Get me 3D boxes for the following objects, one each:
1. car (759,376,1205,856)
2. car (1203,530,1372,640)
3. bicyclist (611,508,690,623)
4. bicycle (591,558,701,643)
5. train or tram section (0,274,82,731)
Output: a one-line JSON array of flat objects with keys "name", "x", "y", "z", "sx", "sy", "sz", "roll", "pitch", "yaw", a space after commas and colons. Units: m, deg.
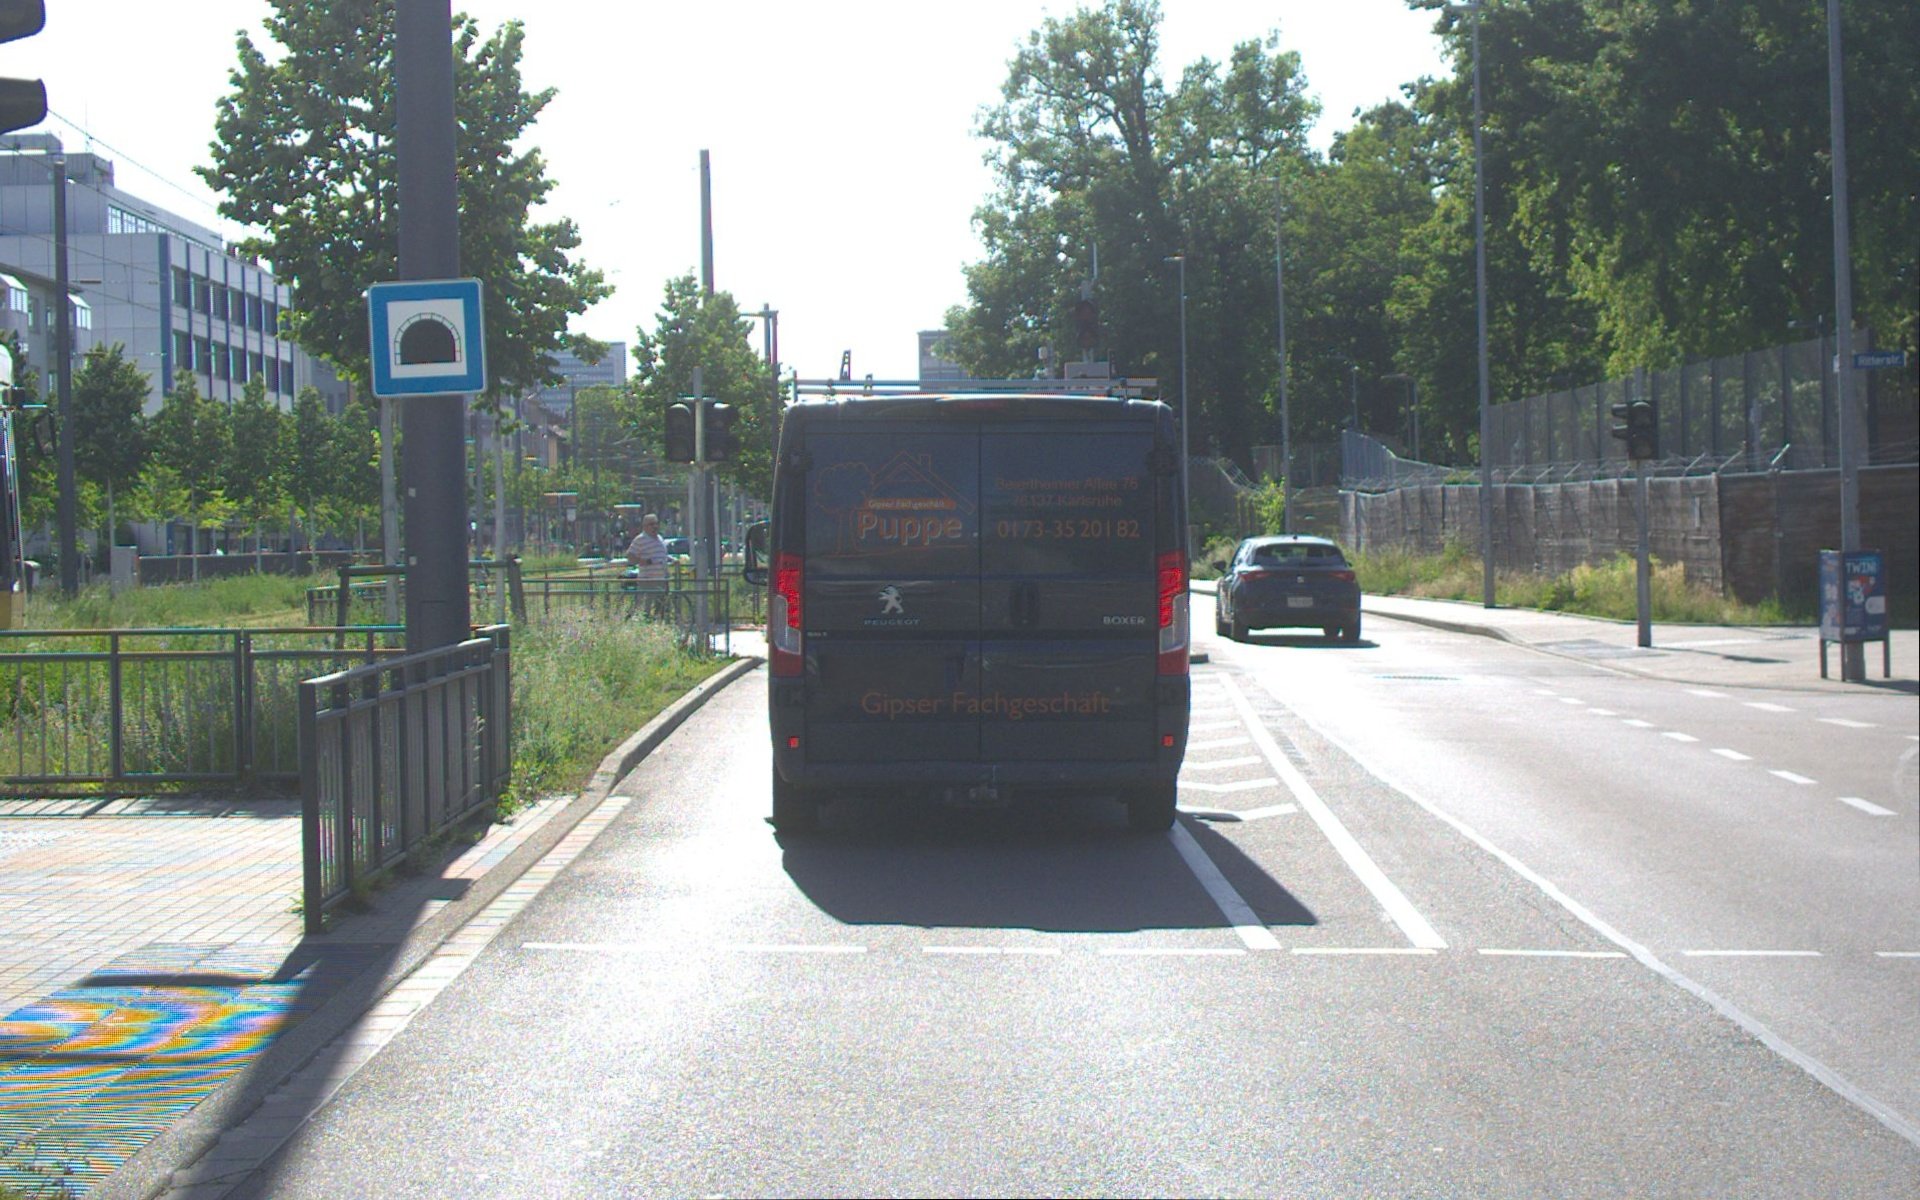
[{"name": "car", "x": 0.050, "y": 0.040, "z": 18.123, "sx": 2.082, "sy": 2.241, "sz": 4.000, "roll": 0, "pitch": 1, "yaw": -2}, {"name": "car", "x": 4.500, "y": -0.237, "z": 47.730, "sx": 1.763, "sy": 1.457, "sz": 4.001, "roll": 0, "pitch": 1, "yaw": -3}, {"name": "bicyclist", "x": -4.105, "y": -0.460, "z": 45.604, "sx": 0.826, "sy": 1.507, "sz": 0.730, "roll": -1, "pitch": 1, "yaw": -26}, {"name": "bicycle", "x": -4.185, "y": -0.006, "z": 45.709, "sx": 0.732, "sy": 1.087, "sz": 2.083, "roll": -1, "pitch": 1, "yaw": -27}, {"name": "train or tram section", "x": -8.625, "y": -0.718, "z": 24.319, "sx": 1.993, "sy": 3.656, "sz": 11.684, "roll": 0, "pitch": 1, "yaw": -1}]
